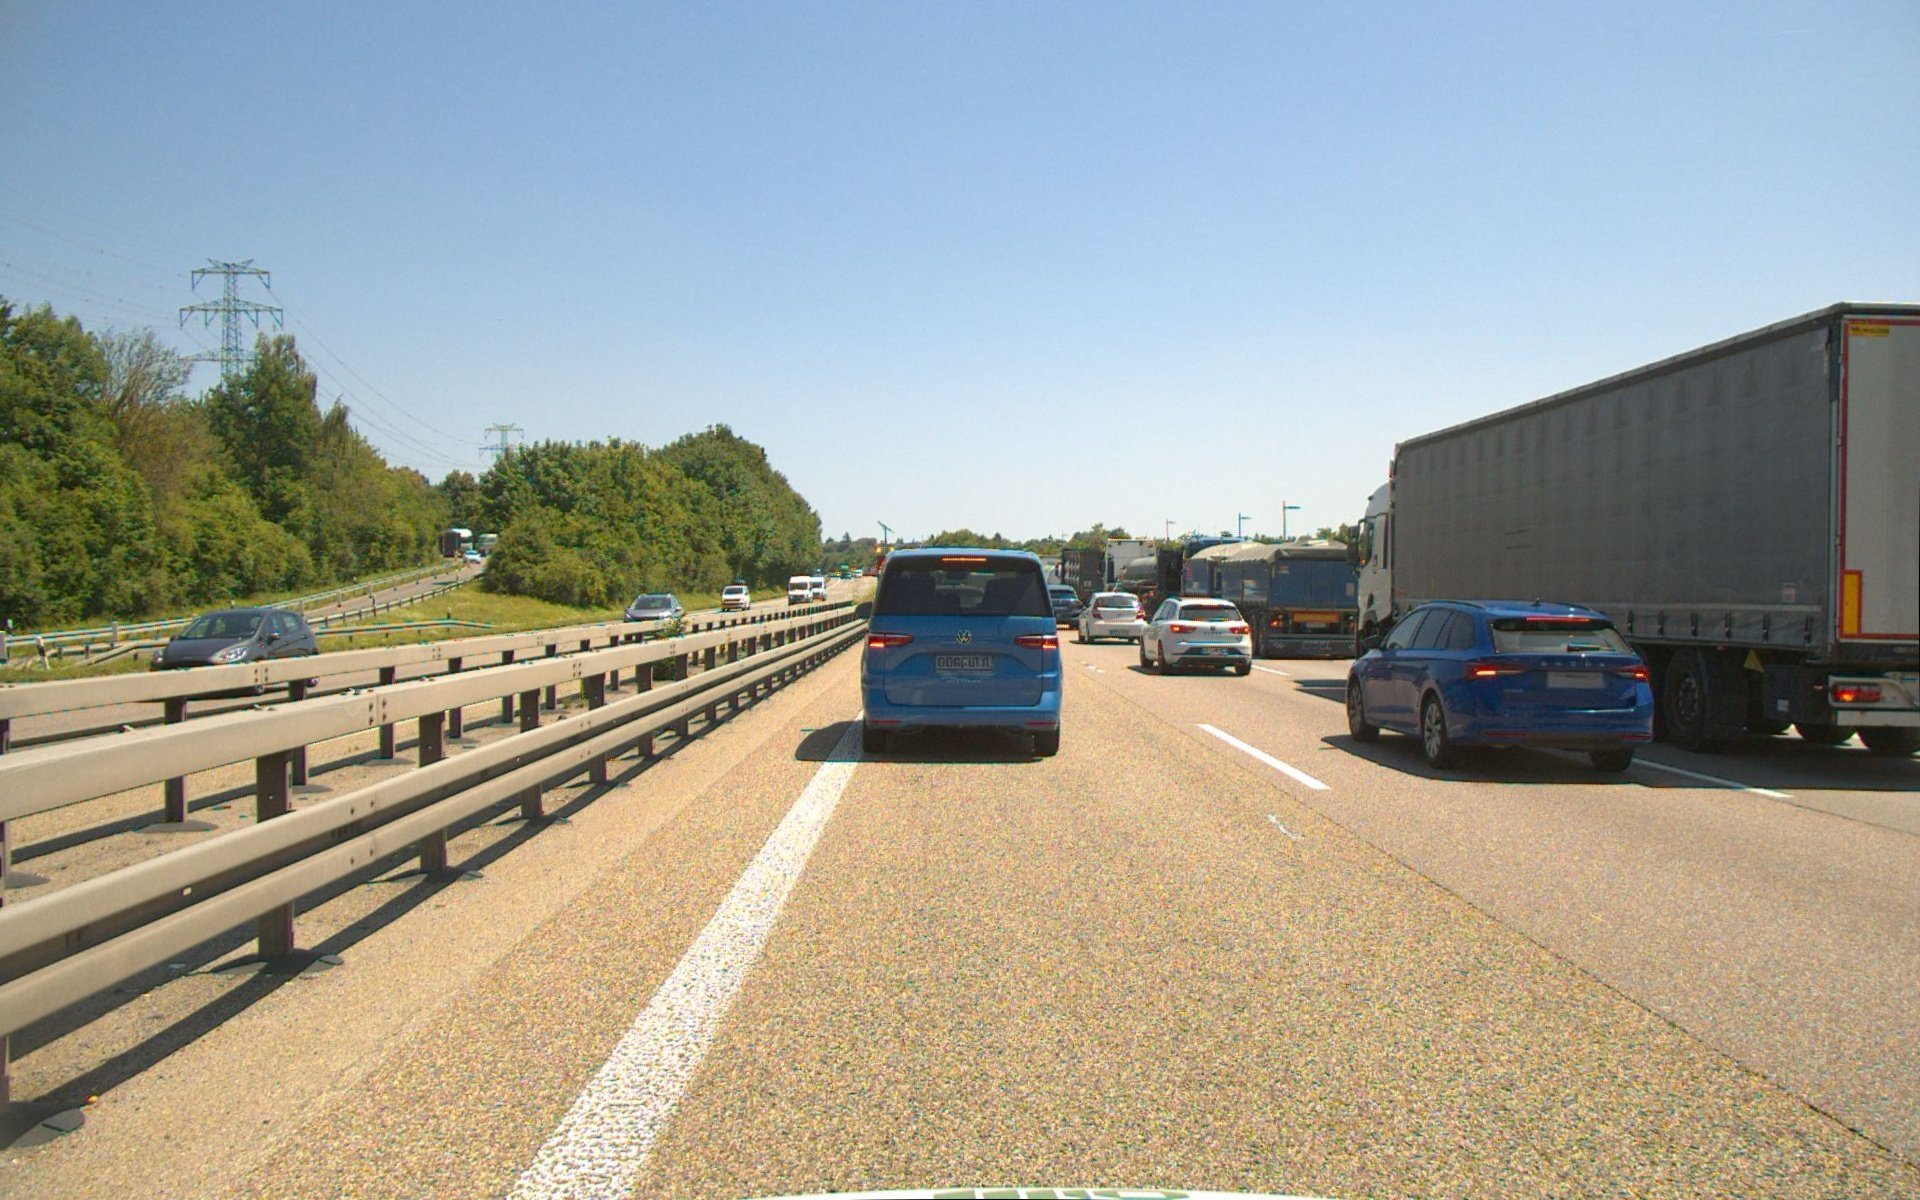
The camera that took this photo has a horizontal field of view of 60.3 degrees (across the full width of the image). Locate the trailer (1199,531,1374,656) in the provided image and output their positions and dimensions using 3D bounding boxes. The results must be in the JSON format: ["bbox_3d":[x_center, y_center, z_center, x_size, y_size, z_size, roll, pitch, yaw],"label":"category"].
[{"bbox_3d":[8.356,-0.256,43.546,2.688,2.886,9.115,1,1,0],"label":"trailer"}]

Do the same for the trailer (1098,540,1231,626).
[{"bbox_3d":[8.222,-0.592,69.112,3.572,3.133,15.770,1,0,0],"label":"trailer"}]

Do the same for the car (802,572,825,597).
[{"bbox_3d":[-16.010,-1.665,181.057,2.112,2.639,5.889,-1,0,-1],"label":"car"}]

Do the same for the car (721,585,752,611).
[{"bbox_3d":[-17.802,-0.146,131.818,1.827,1.938,5.490,-2,0,-2],"label":"car"}]

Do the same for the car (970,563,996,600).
[{"bbox_3d":[3.416,-2.738,245.726,3.155,5.349,8.137,1,0,-4],"label":"car"}]

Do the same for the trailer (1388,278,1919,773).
[{"bbox_3d":[8.640,-0.663,20.685,2.902,4.120,13.750,0,0,0],"label":"trailer"}]

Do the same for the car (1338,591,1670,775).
[{"bbox_3d":[4.938,0.687,15.675,1.671,1.466,4.427,1,0,0],"label":"car"}]

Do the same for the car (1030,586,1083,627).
[{"bbox_3d":[3.721,0.255,64.500,1.744,1.551,3.999,1,0,-1],"label":"car"}]

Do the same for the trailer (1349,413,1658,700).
[{"bbox_3d":[8.575,-0.657,27.002,2.865,4.114,6.410,0,1,-1],"label":"trailer"}]

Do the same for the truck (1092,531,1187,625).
[{"bbox_3d":[8.333,-0.977,77.863,3.552,4.166,7.523,1,0,-1],"label":"truck"}]

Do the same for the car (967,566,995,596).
[{"bbox_3d":[1.991,-1.832,158.548,2.499,2.765,5.620,1,0,-1],"label":"car"}]

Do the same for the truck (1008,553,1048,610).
[{"bbox_3d":[6.146,-1.617,151.880,3.006,5.006,10.688,1,0,-1],"label":"truck"}]

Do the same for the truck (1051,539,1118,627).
[{"bbox_3d":[7.677,-1.021,102.775,3.584,5.270,5.707,1,0,-1],"label":"truck"}]

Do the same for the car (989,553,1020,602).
[{"bbox_3d":[5.077,-2.536,189.355,3.153,5.349,8.143,1,0,-1],"label":"car"}]

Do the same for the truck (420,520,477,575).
[{"bbox_3d":[-72.360,-7.263,233.576,4.624,7.354,13.499,1,0,-31],"label":"truck"}]

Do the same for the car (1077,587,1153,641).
[{"bbox_3d":[4.556,0.406,49.072,1.803,1.480,3.999,1,0,-1],"label":"car"}]

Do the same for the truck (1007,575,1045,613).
[{"bbox_3d":[3.371,-0.295,84.469,1.690,1.890,3.999,1,0,-1],"label":"truck"}]

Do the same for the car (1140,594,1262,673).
[{"bbox_3d":[4.628,0.610,32.264,1.829,1.385,4.000,1,0,1],"label":"car"}]

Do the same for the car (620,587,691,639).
[{"bbox_3d":[-10.272,0.433,55.970,1.737,1.659,3.949,1,0,-2],"label":"car"}]

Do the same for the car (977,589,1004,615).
[{"bbox_3d":[2.434,0.175,132.295,1.953,2.049,3.999,1,0,-1],"label":"car"}]

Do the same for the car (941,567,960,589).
[{"bbox_3d":[-1.531,-3.493,261.839,2.436,3.260,7.366,1,0,-4],"label":"car"}]

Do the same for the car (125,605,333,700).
[{"bbox_3d":[-12.596,0.855,28.792,1.838,1.472,4.144,-2,0,-2],"label":"car"}]

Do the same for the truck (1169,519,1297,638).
[{"bbox_3d":[8.296,-0.692,51.125,2.688,3.369,7.132,1,1,-1],"label":"truck"}]

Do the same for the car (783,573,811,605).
[{"bbox_3d":[-14.841,-0.983,150.796,2.011,2.697,5.837,-4,0,-1],"label":"car"}]

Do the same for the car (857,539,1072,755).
[{"bbox_3d":[0.064,0.423,16.572,1.862,1.870,4.000,1,0,1],"label":"car"}]

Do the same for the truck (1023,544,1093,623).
[{"bbox_3d":[7.039,-1.102,121.286,3.548,5.304,15.682,1,0,-2],"label":"truck"}]

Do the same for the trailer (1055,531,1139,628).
[{"bbox_3d":[7.836,-1.093,96.643,3.572,5.226,13.072,1,0,-1],"label":"trailer"}]
